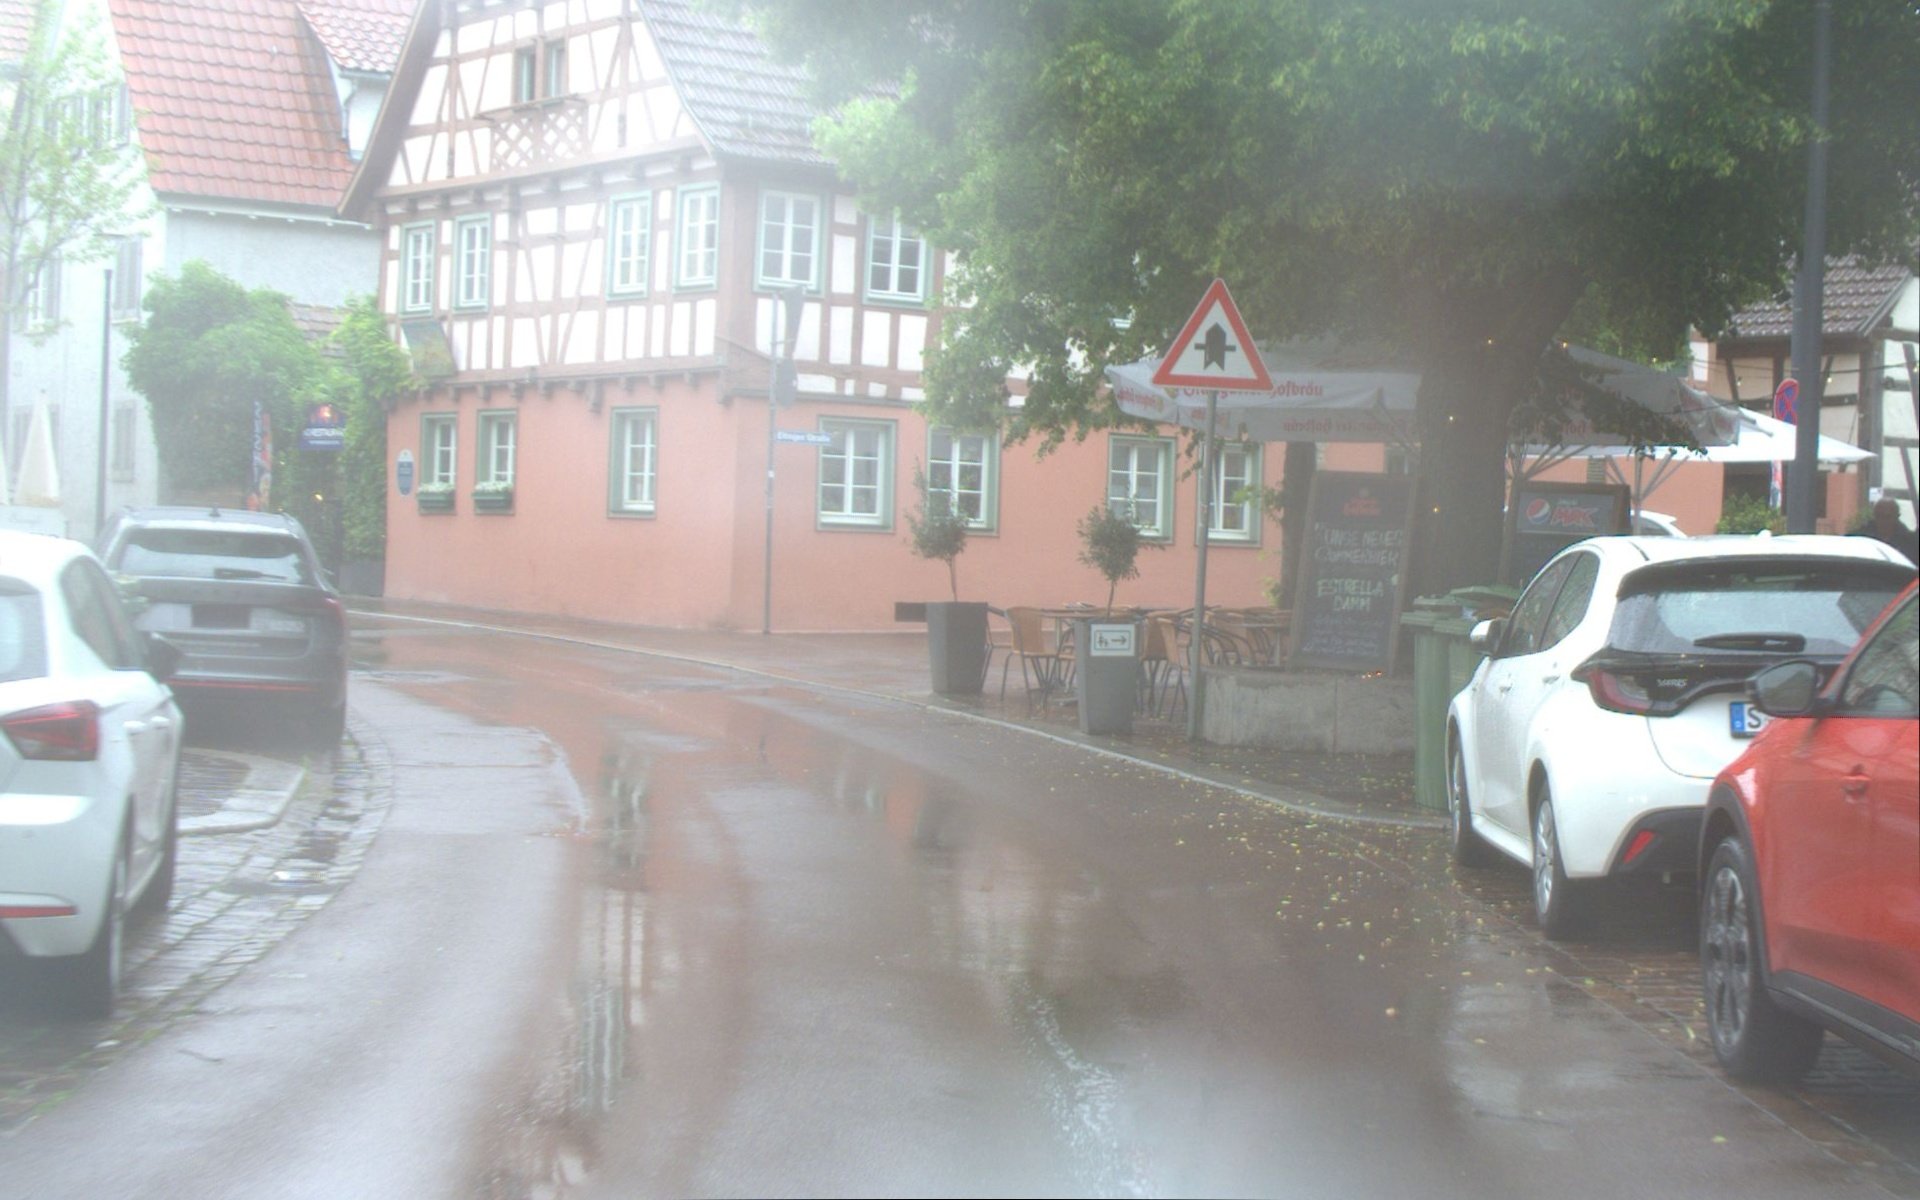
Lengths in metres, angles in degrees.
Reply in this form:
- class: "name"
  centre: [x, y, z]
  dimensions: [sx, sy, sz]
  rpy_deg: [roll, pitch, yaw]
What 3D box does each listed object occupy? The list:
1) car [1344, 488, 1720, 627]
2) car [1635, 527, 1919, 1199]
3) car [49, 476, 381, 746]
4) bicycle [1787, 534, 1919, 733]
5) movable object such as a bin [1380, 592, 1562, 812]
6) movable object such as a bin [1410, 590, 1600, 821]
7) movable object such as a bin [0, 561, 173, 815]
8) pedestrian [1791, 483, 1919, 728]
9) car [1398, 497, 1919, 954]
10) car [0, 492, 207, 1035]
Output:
- class: "car"
  centre: [7.407, -0.539, 44.375]
  dimensions: [4.601, 1.627, 2.000]
  rpy_deg: [0, 4, -34]
- class: "car"
  centre: [2.925, 0.621, 8.146]
  dimensions: [1.787, 1.463, 3.949]
  rpy_deg: [3, -1, 0]
- class: "car"
  centre: [-5.009, 0.037, 22.734]
  dimensions: [1.875, 1.535, 4.402]
  rpy_deg: [3, 0, -15]
- class: "bicycle"
  centre: [6.404, 0.216, 24.484]
  dimensions: [0.925, 1.346, 2.214]
  rpy_deg: [1, 1, 15]
- class: "movable object such as a bin"
  centre: [2.612, 0.518, 17.620]
  dimensions: [0.725, 1.079, 0.605]
  rpy_deg: [3, -1, -10]
- class: "movable object such as a bin"
  centre: [2.679, 0.514, 16.944]
  dimensions: [0.725, 1.089, 0.611]
  rpy_deg: [3, -1, -10]
- class: "movable object such as a bin"
  centre: [-4.185, 0.407, 16.343]
  dimensions: [0.700, 1.140, 0.719]
  rpy_deg: [3, 2, -2]
- class: "pedestrian"
  centre: [6.376, 0.037, 24.353]
  dimensions: [0.911, 1.692, 0.861]
  rpy_deg: [1, 0, 15]
- class: "car"
  centre: [2.939, 0.408, 13.852]
  dimensions: [1.787, 1.550, 3.950]
  rpy_deg: [1, 1, 0]
- class: "car"
  centre: [-3.624, 0.380, 11.577]
  dimensions: [1.848, 1.447, 4.074]
  rpy_deg: [3, 2, -9]
